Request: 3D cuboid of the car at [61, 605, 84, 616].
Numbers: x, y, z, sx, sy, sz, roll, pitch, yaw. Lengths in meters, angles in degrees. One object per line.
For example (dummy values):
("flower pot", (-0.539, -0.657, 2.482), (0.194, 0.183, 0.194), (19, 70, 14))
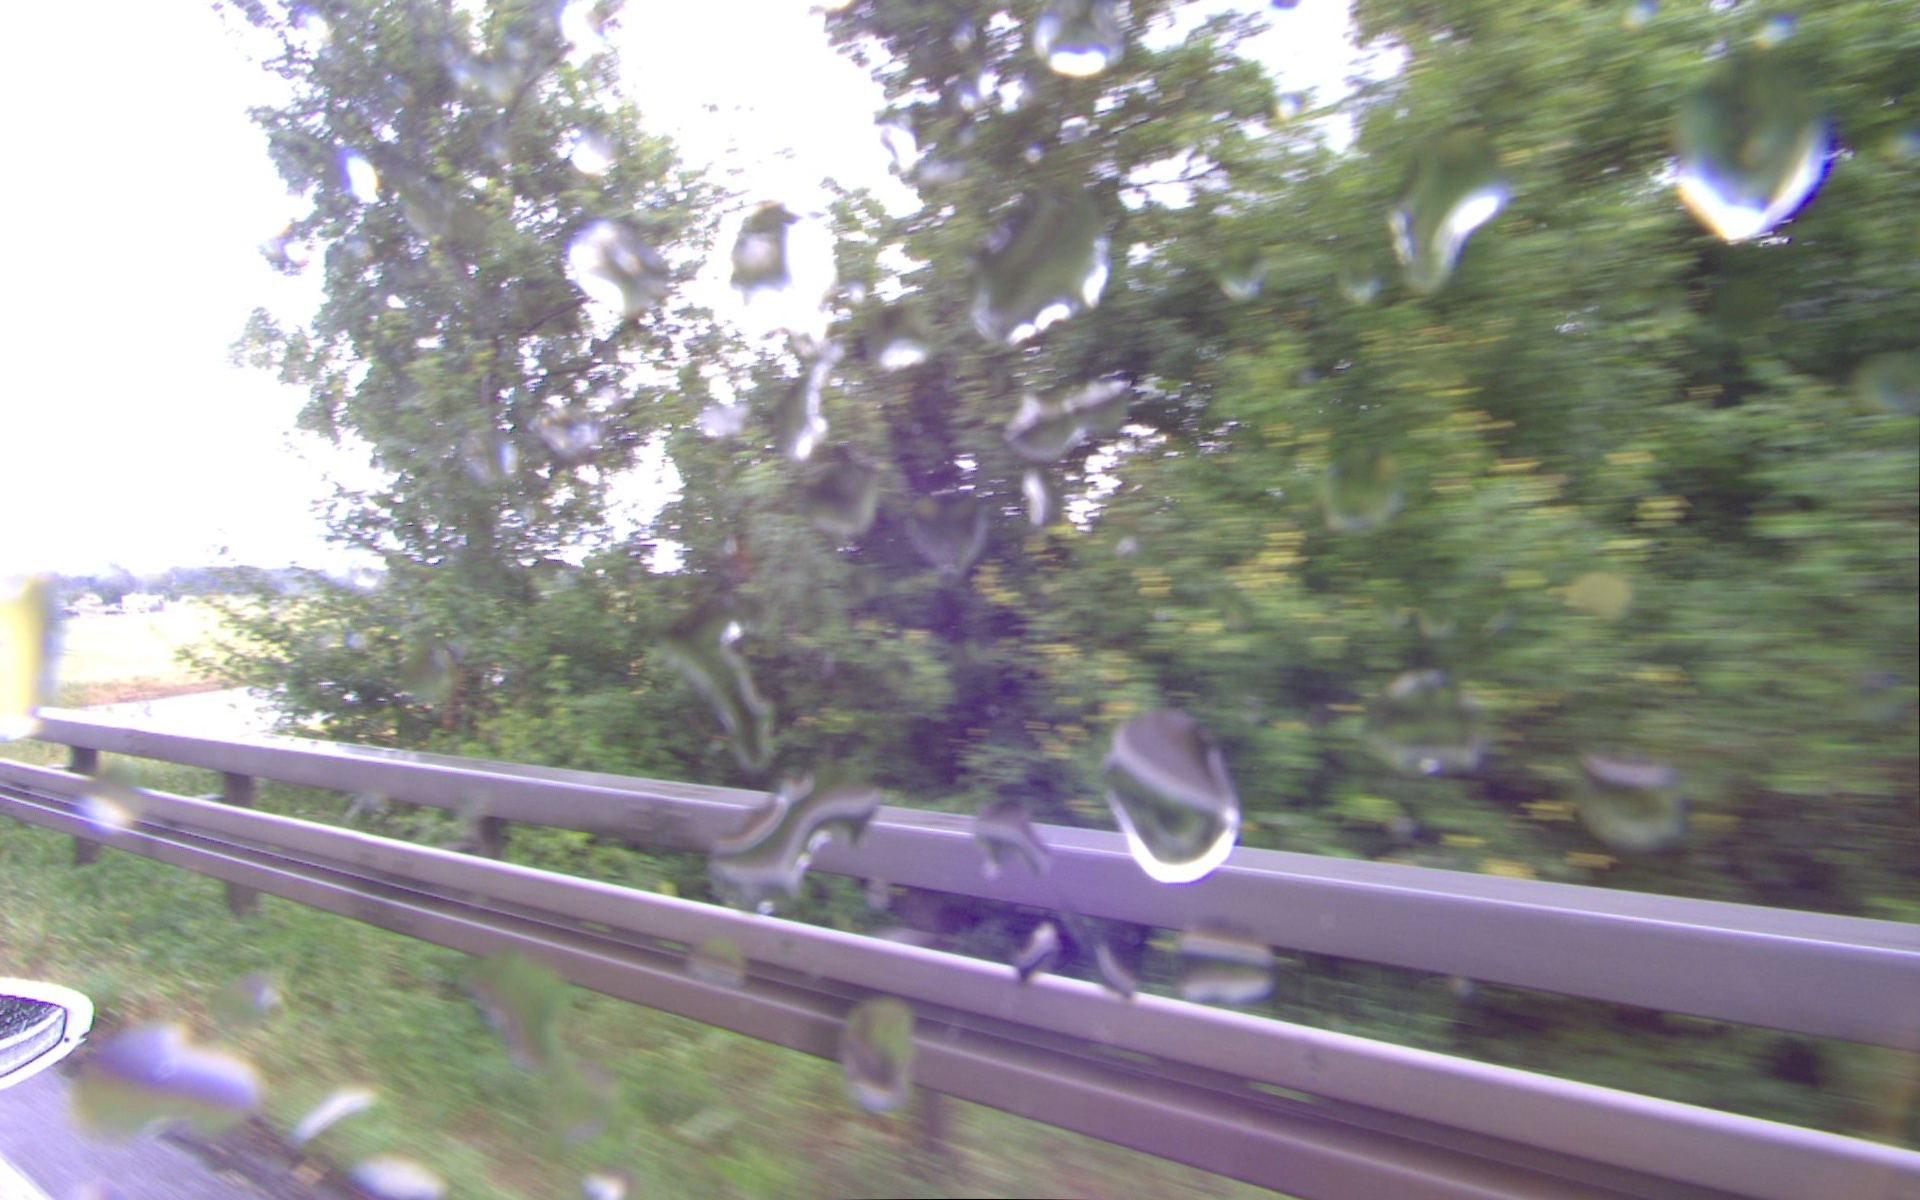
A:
("car", (-173.086, 2.100, 195.384), (2.112, 2.039, 3.989), (0, -2, -22))
